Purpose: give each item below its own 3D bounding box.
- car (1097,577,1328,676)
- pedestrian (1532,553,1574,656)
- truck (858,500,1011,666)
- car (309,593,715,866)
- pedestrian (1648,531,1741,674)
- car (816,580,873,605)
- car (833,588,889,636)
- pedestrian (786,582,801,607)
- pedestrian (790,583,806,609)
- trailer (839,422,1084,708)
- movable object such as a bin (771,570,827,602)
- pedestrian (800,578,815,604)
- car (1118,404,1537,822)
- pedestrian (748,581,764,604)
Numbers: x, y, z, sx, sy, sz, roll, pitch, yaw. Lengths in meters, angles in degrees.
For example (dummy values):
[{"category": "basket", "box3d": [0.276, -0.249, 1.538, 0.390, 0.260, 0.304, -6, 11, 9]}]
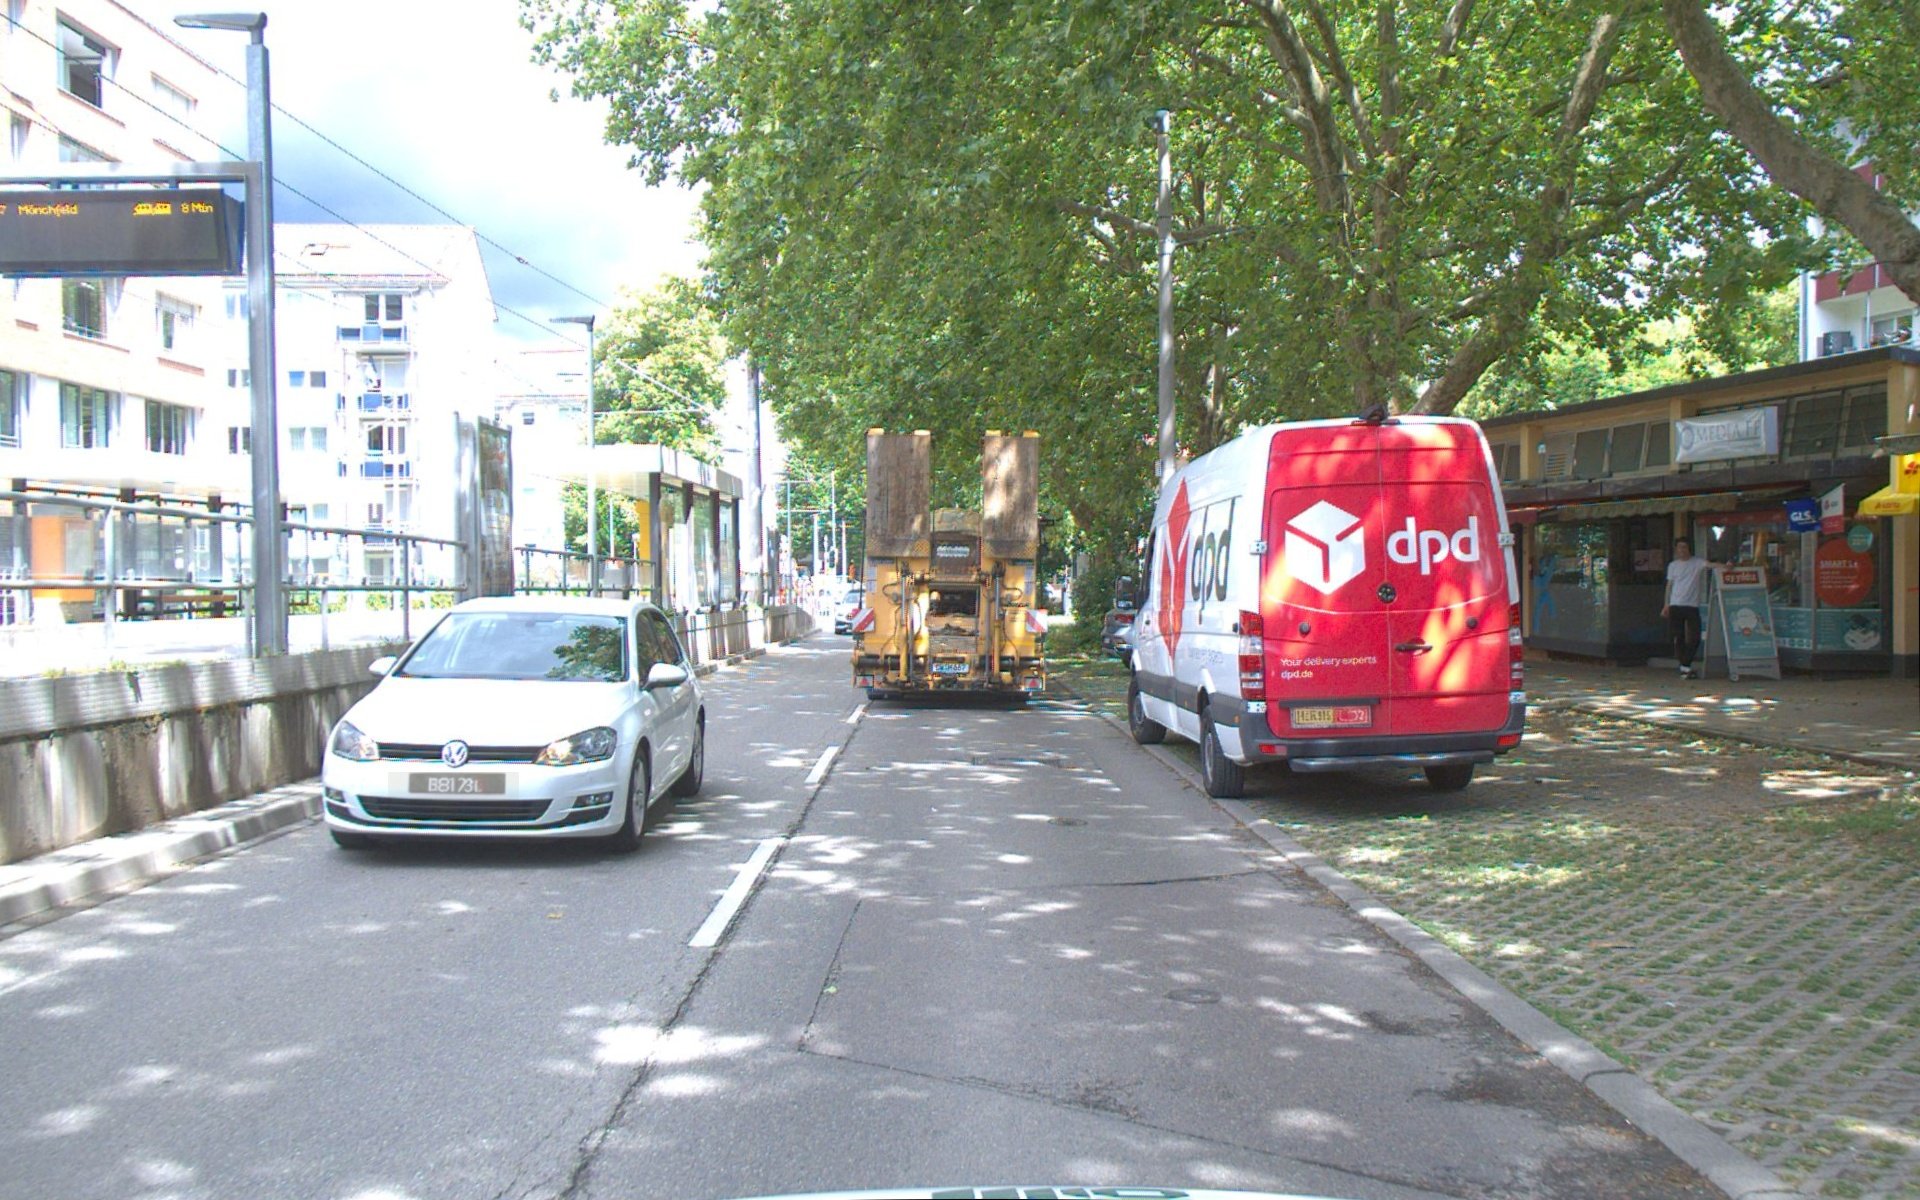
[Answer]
[{"category": "car", "box3d": [4.481, 0.460, 29.559, 3.757, 1.589, 1.617, -2, 0, -8]}, {"category": "pedestrian", "box3d": [10.166, 0.073, 28.380, 0.533, 1.734, 0.373, -1, 0, -8]}, {"category": "truck", "box3d": [-0.625, -0.344, 35.976, 2.929, 3.190, 7.884, 0, 0, -2]}, {"category": "car", "box3d": [-2.645, 0.684, 10.634, 1.697, 1.420, 3.750, 1, 0, -2]}, {"category": "pedestrian", "box3d": [9.589, 0.038, 21.603, 0.910, 1.832, 0.602, -2, -1, 44]}, {"category": "car", "box3d": [-10.640, -0.700, 152.365, 5.005, 2.138, 1.969, 1, 0, -15]}, {"category": "car", "box3d": [-3.328, 0.379, 56.324, 1.726, 1.507, 4.575, 1, 0, -1]}, {"category": "pedestrian", "box3d": [-12.146, -0.380, 120.824, 0.866, 1.791, 0.838, 1, 0, 16]}, {"category": "pedestrian", "box3d": [-11.916, -0.294, 121.562, 0.876, 1.900, 0.829, 0, 0, -29]}, {"category": "trailer", "box3d": [-0.226, -0.467, 26.525, 3.091, 3.614, 11.091, 0, 0, -3]}, {"category": "movable object such as a bin", "box3d": [-13.647, -1.213, 140.194, 4.281, 2.675, 2.218, 0, 0, 26]}, {"category": "pedestrian", "box3d": [-11.495, -0.681, 124.635, 0.868, 1.900, 0.836, 1, 0, 28]}, {"category": "car", "box3d": [2.701, 0.065, 14.087, 1.866, 2.626, 6.832, -2, 0, -1]}, {"category": "pedestrian", "box3d": [-14.781, -0.524, 119.833, 0.877, 1.673, 0.890, 0, 0, -32]}]
